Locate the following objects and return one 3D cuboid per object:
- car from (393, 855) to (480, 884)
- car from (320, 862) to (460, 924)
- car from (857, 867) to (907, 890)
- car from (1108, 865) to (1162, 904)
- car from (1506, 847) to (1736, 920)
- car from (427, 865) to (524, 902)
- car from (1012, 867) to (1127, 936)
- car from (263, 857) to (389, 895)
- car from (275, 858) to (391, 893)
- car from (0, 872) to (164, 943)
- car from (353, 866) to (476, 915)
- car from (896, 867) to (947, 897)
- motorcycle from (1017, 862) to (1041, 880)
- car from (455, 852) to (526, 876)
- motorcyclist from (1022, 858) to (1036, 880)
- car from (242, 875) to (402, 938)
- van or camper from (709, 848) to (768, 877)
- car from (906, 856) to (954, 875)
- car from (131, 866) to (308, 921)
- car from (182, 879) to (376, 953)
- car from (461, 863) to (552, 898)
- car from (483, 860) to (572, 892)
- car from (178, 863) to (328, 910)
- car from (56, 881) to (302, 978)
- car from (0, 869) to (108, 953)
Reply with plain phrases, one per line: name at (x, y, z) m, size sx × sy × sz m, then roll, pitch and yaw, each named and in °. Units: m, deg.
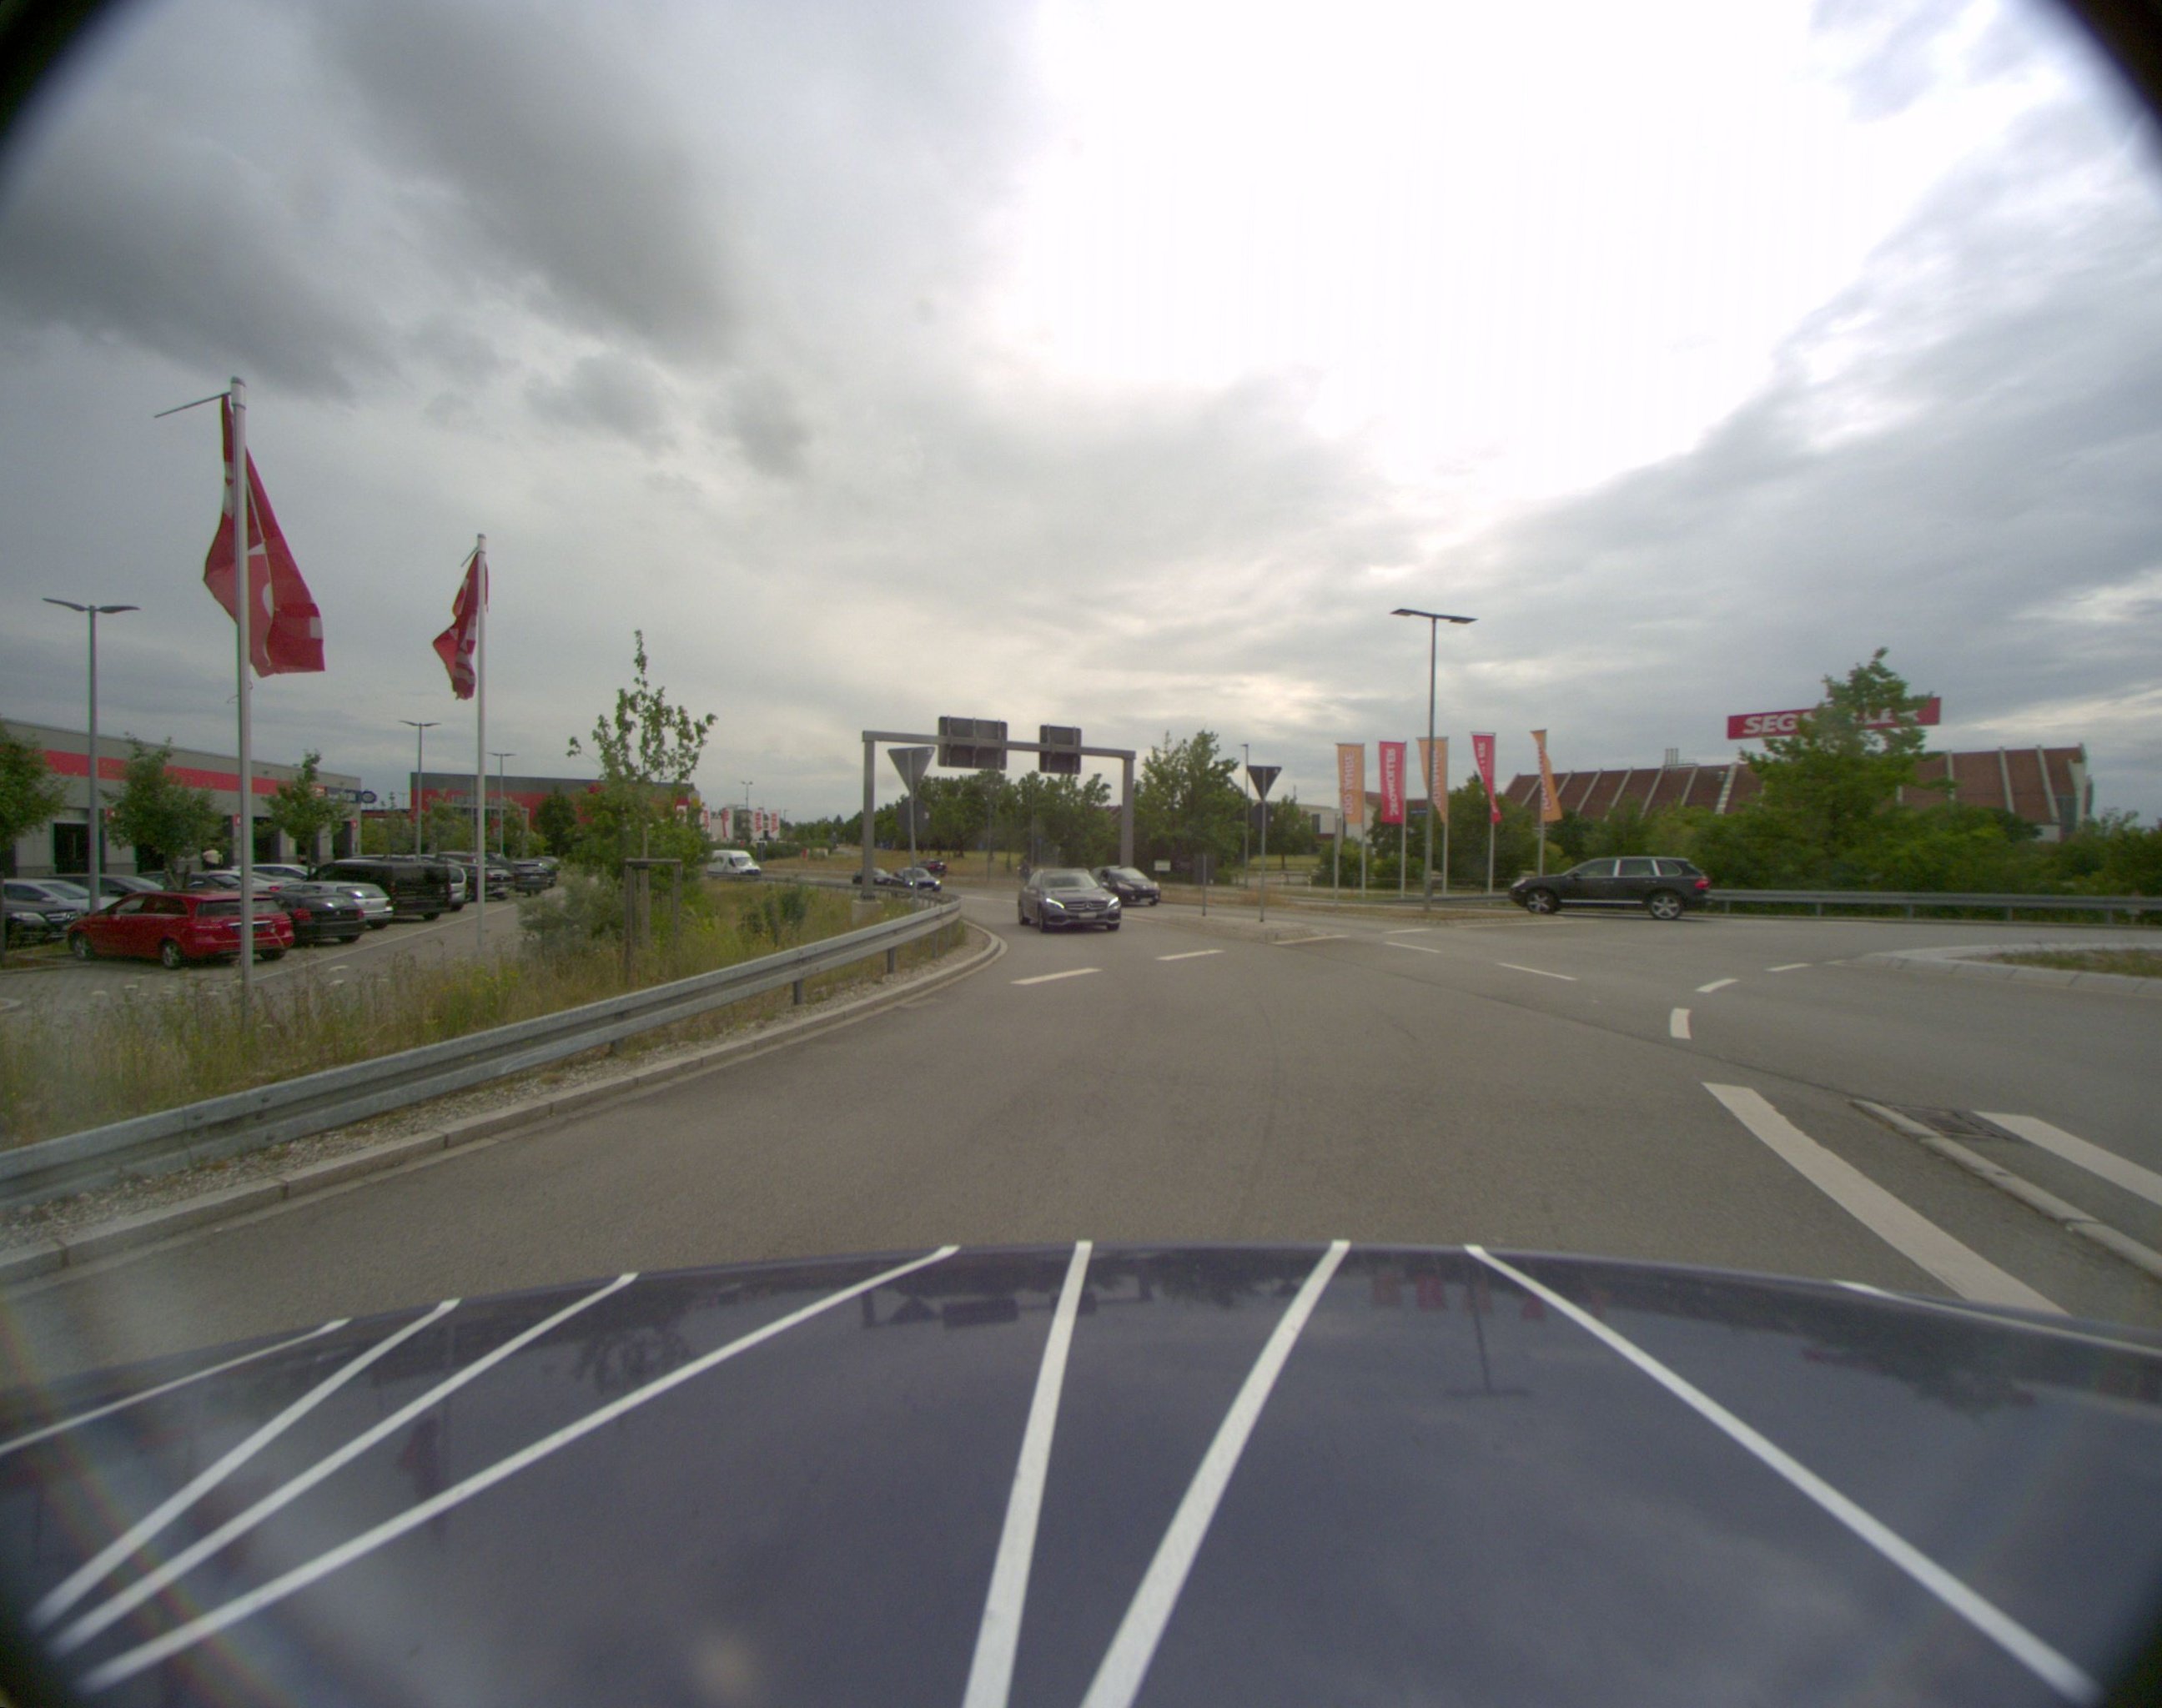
car at (-39.009, 0.899, 46.070) m, size 3.704 × 1.536 × 1.587 m, roll -2°, pitch 2°, yaw -27°
car at (-23.351, 1.256, 25.672) m, size 4.067 × 1.897 × 1.909 m, roll 1°, pitch 0°, yaw 22°
car at (-14.219, 1.738, 54.114) m, size 1.864 × 1.404 × 3.927 m, roll -2°, pitch 2°, yaw -41°
car at (1.999, 1.110, 28.967) m, size 1.580 × 1.346 × 3.823 m, roll -1°, pitch -1°, yaw -2°
car at (14.970, 0.870, 21.345) m, size 5.037 × 1.779 × 2.111 m, roll -2°, pitch -5°, yaw 37°
car at (-27.354, 1.316, 34.328) m, size 4.067 × 1.612 × 1.653 m, roll -1°, pitch -1°, yaw 22°
car at (-0.404, 1.076, 18.273) m, size 1.767 × 1.411 × 4.087 m, roll -1°, pitch -2°, yaw -15°
car at (-34.351, 0.956, 34.684) m, size 3.704 × 1.536 × 1.587 m, roll -2°, pitch 2°, yaw -27°
car at (-36.859, 1.021, 37.556) m, size 3.704 × 1.536 × 1.587 m, roll -2°, pitch 2°, yaw -27°
car at (-27.025, 1.380, 19.741) m, size 3.704 × 1.629 × 1.587 m, roll -2°, pitch 2°, yaw -27°
car at (-25.388, 1.356, 28.949) m, size 4.067 × 1.701 × 1.909 m, roll 0°, pitch 0°, yaw 22°
car at (-9.054, 1.524, 42.918) m, size 1.863 × 1.404 × 4.547 m, roll -1°, pitch 2°, yaw -25°
motorcycle at (-3.674, 1.192, 53.442) m, size 0.704 × 1.222 × 2.244 m, roll 0°, pitch -1°, yaw -30°
car at (-41.834, 0.700, 53.896) m, size 3.704 × 1.536 × 1.587 m, roll -2°, pitch 2°, yaw -27°
motorcyclist at (-3.692, 1.074, 53.503) m, size 0.676 × 1.566 × 0.845 m, roll 0°, pitch -1°, yaw -30°
car at (-22.758, 1.509, 22.803) m, size 4.067 × 1.570 × 1.774 m, roll 2°, pitch 0°, yaw 19°
van or camper at (-30.029, 0.705, 66.558) m, size 5.525 × 2.351 × 2.057 m, roll 1°, pitch 2°, yaw 34°
car at (-13.135, 0.992, 66.115) m, size 4.268 × 1.459 × 1.896 m, roll 1°, pitch 4°, yaw 43°
car at (-29.863, 1.315, 26.503) m, size 3.704 × 1.629 × 1.587 m, roll -2°, pitch 2°, yaw -27°
car at (-20.798, 1.553, 19.737) m, size 4.068 × 1.570 × 1.773 m, roll 2°, pitch 0°, yaw 16°
car at (-27.996, 1.302, 37.021) m, size 4.067 × 1.612 × 1.740 m, roll -1°, pitch -1°, yaw 23°
car at (-31.049, 1.217, 42.656) m, size 4.069 × 1.612 × 1.739 m, roll 2°, pitch 0°, yaw 13°
car at (-33.318, 1.281, 30.712) m, size 3.704 × 1.629 × 1.587 m, roll -2°, pitch 2°, yaw -27°
car at (-19.752, 1.582, 16.693) m, size 4.069 × 1.571 × 1.772 m, roll 4°, pitch 3°, yaw 12°
car at (-25.809, 1.350, 17.257) m, size 4.207 × 1.826 × 1.587 m, roll -2°, pitch 2°, yaw -27°
